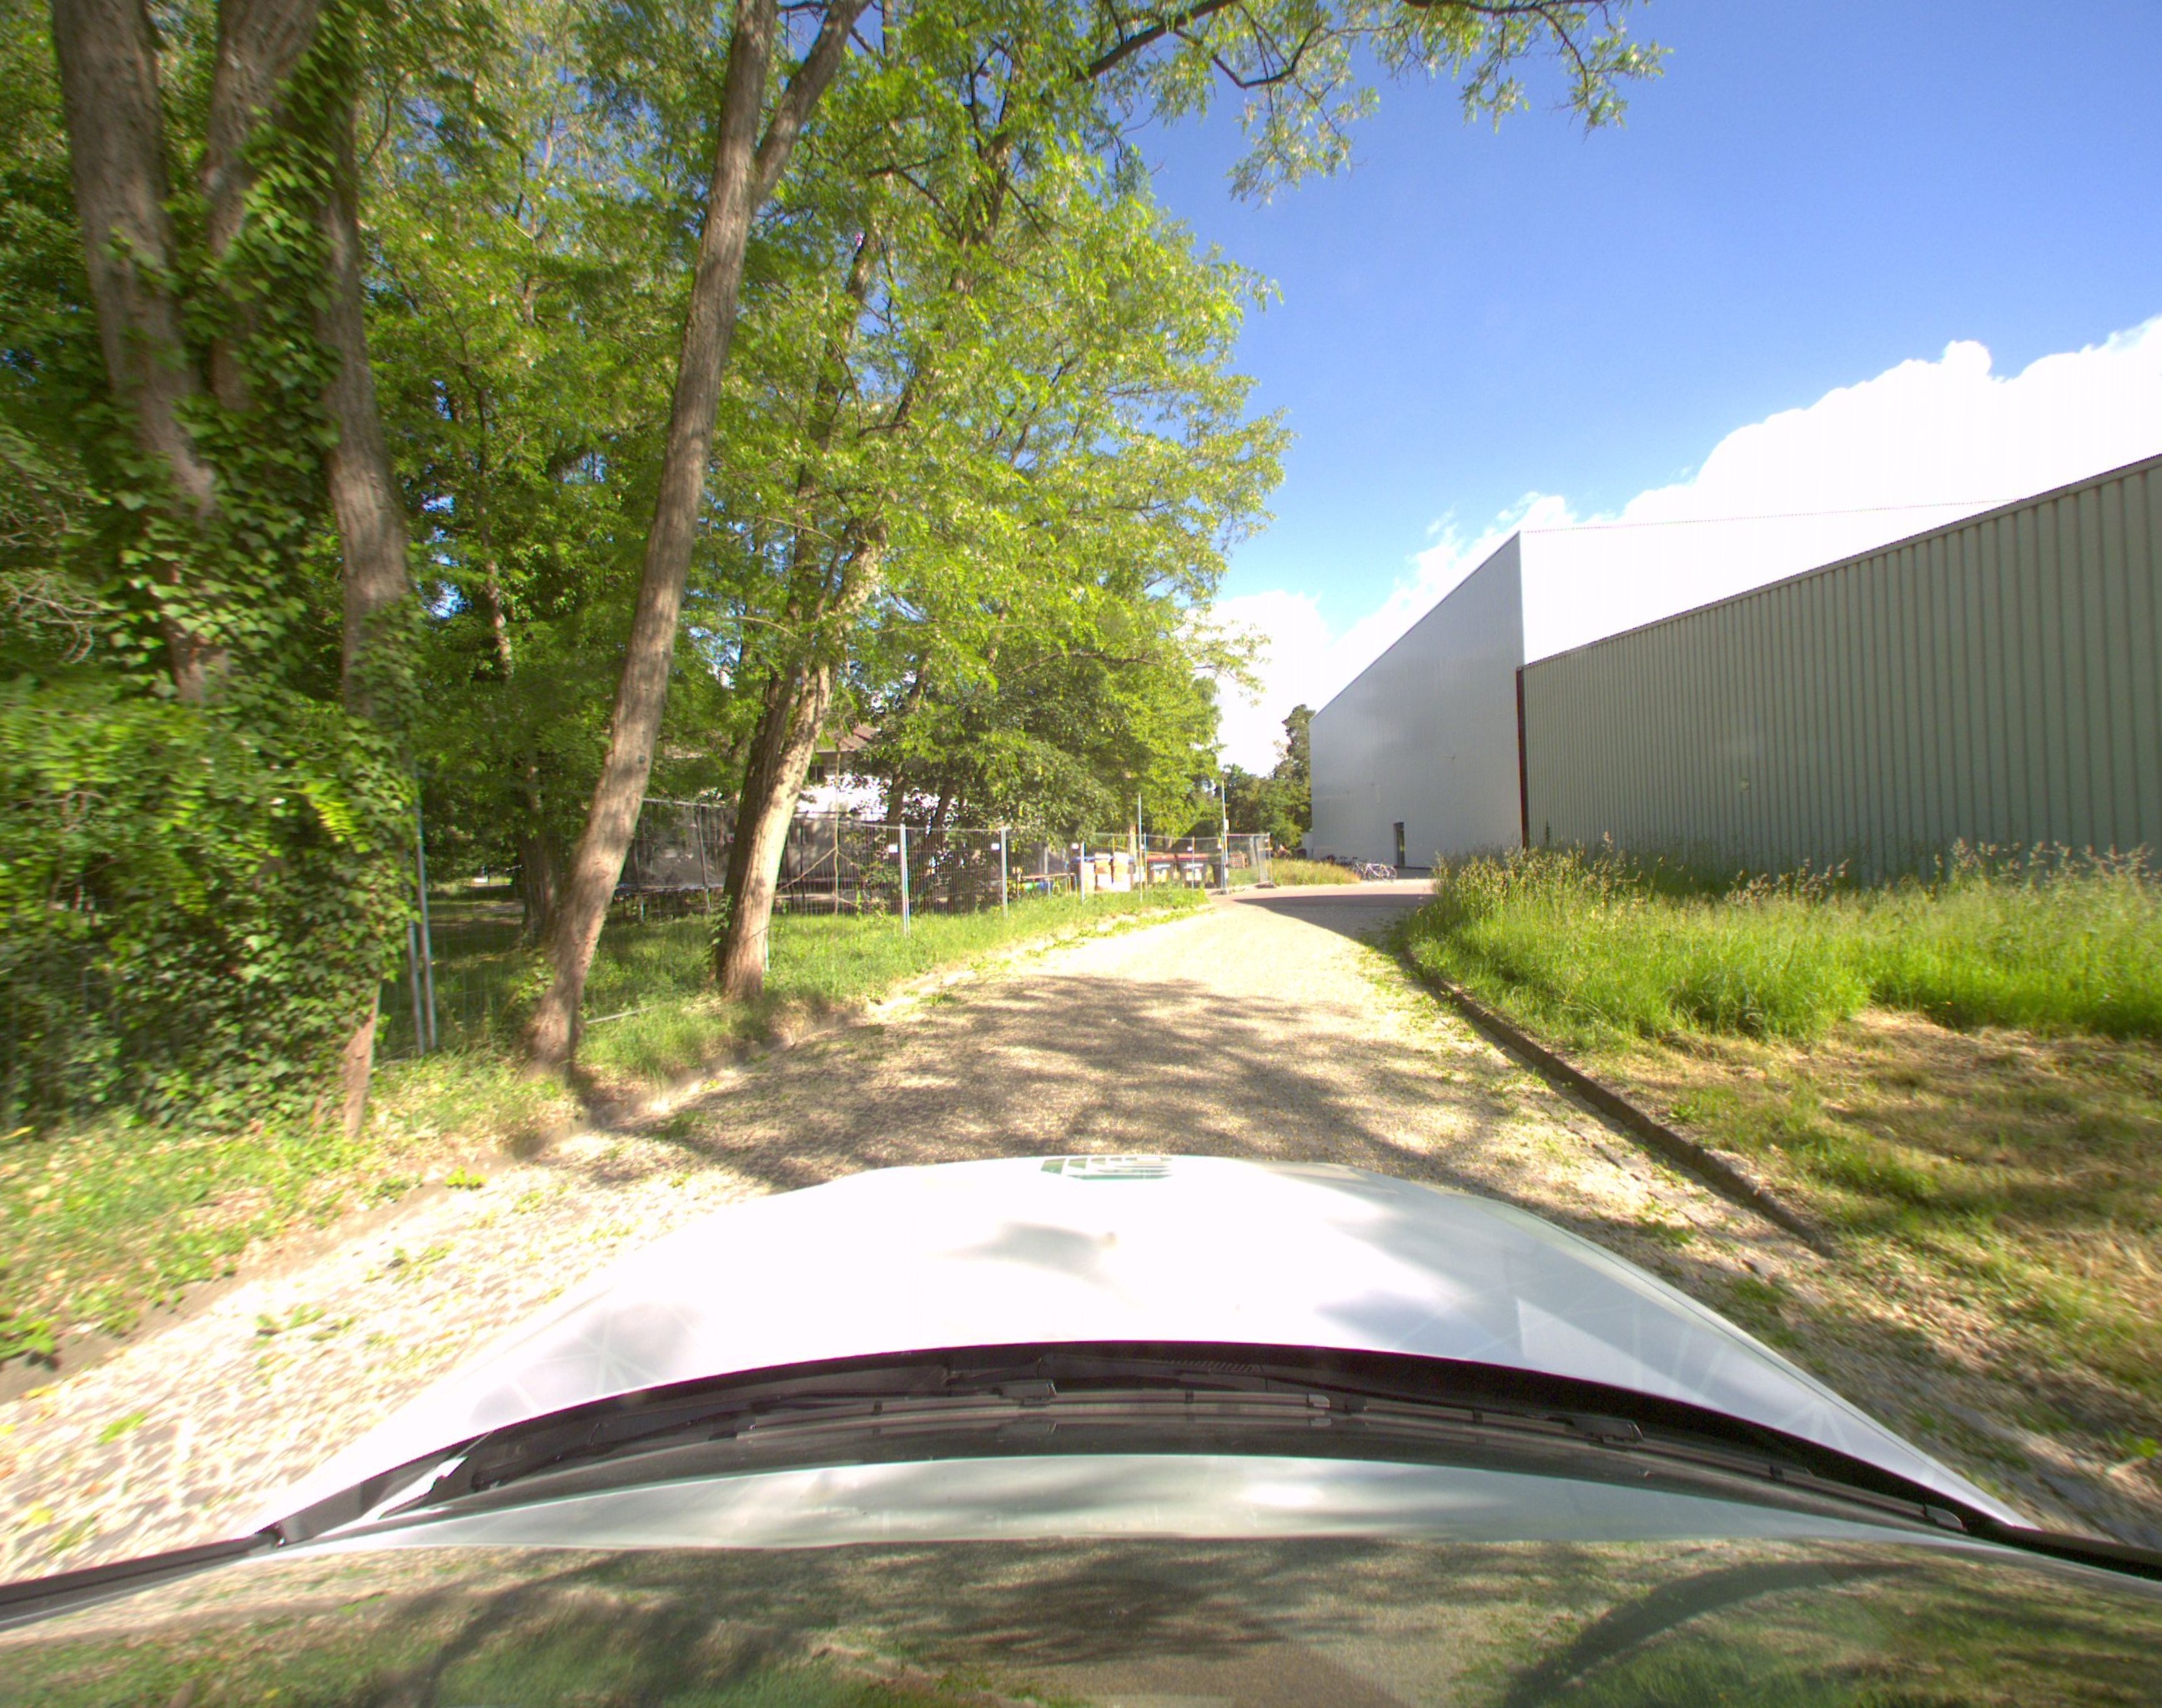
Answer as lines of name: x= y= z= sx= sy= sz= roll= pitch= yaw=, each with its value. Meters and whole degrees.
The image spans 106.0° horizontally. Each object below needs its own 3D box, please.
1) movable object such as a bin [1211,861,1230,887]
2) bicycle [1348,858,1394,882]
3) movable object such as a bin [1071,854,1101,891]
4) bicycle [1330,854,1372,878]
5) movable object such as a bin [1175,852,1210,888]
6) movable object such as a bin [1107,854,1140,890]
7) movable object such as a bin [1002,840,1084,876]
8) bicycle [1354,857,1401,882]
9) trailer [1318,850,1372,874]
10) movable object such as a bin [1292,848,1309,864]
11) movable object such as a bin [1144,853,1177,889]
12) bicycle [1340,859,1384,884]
movable object such as a bin: x=5.668 y=0.823 z=33.126 sx=0.636 sy=1.007 sz=0.608 roll=-2 pitch=-1 yaw=20
bicycle: x=13.028 y=0.712 z=36.650 sx=1.875 sy=0.978 sz=0.434 roll=-2 pitch=-1 yaw=4
movable object such as a bin: x=0.200 y=0.758 z=33.857 sx=1.078 sy=1.438 sz=1.058 roll=-2 pitch=-1 yaw=7
bicycle: x=13.424 y=0.595 z=40.486 sx=1.875 sy=1.126 sz=0.434 roll=-2 pitch=-1 yaw=4
movable object such as a bin: x=4.574 y=0.651 z=33.511 sx=1.282 sy=1.426 sz=1.033 roll=-2 pitch=-1 yaw=1
movable object such as a bin: x=1.754 y=0.743 z=33.665 sx=1.282 sy=1.426 sz=1.033 roll=-2 pitch=-1 yaw=2
movable object such as a bin: x=-2.322 y=0.260 z=50.698 sx=4.851 sy=1.970 sz=1.934 roll=-2 pitch=-1 yaw=2
bicycle: x=12.901 y=0.672 z=35.453 sx=1.875 sy=0.978 sz=0.434 roll=-2 pitch=-1 yaw=4
trailer: x=14.950 y=0.458 z=46.193 sx=2.698 sy=1.200 sz=1.247 roll=-2 pitch=-1 yaw=4
movable object such as a bin: x=24.484 y=0.250 z=90.949 sx=1.356 sy=1.656 sz=2.848 roll=-2 pitch=0 yaw=8
movable object such as a bin: x=3.263 y=0.684 z=33.547 sx=1.282 sy=1.426 sz=1.033 roll=-2 pitch=-1 yaw=2
bicycle: x=13.046 y=0.795 z=37.850 sx=1.875 sy=1.082 sz=0.434 roll=-2 pitch=-1 yaw=4
